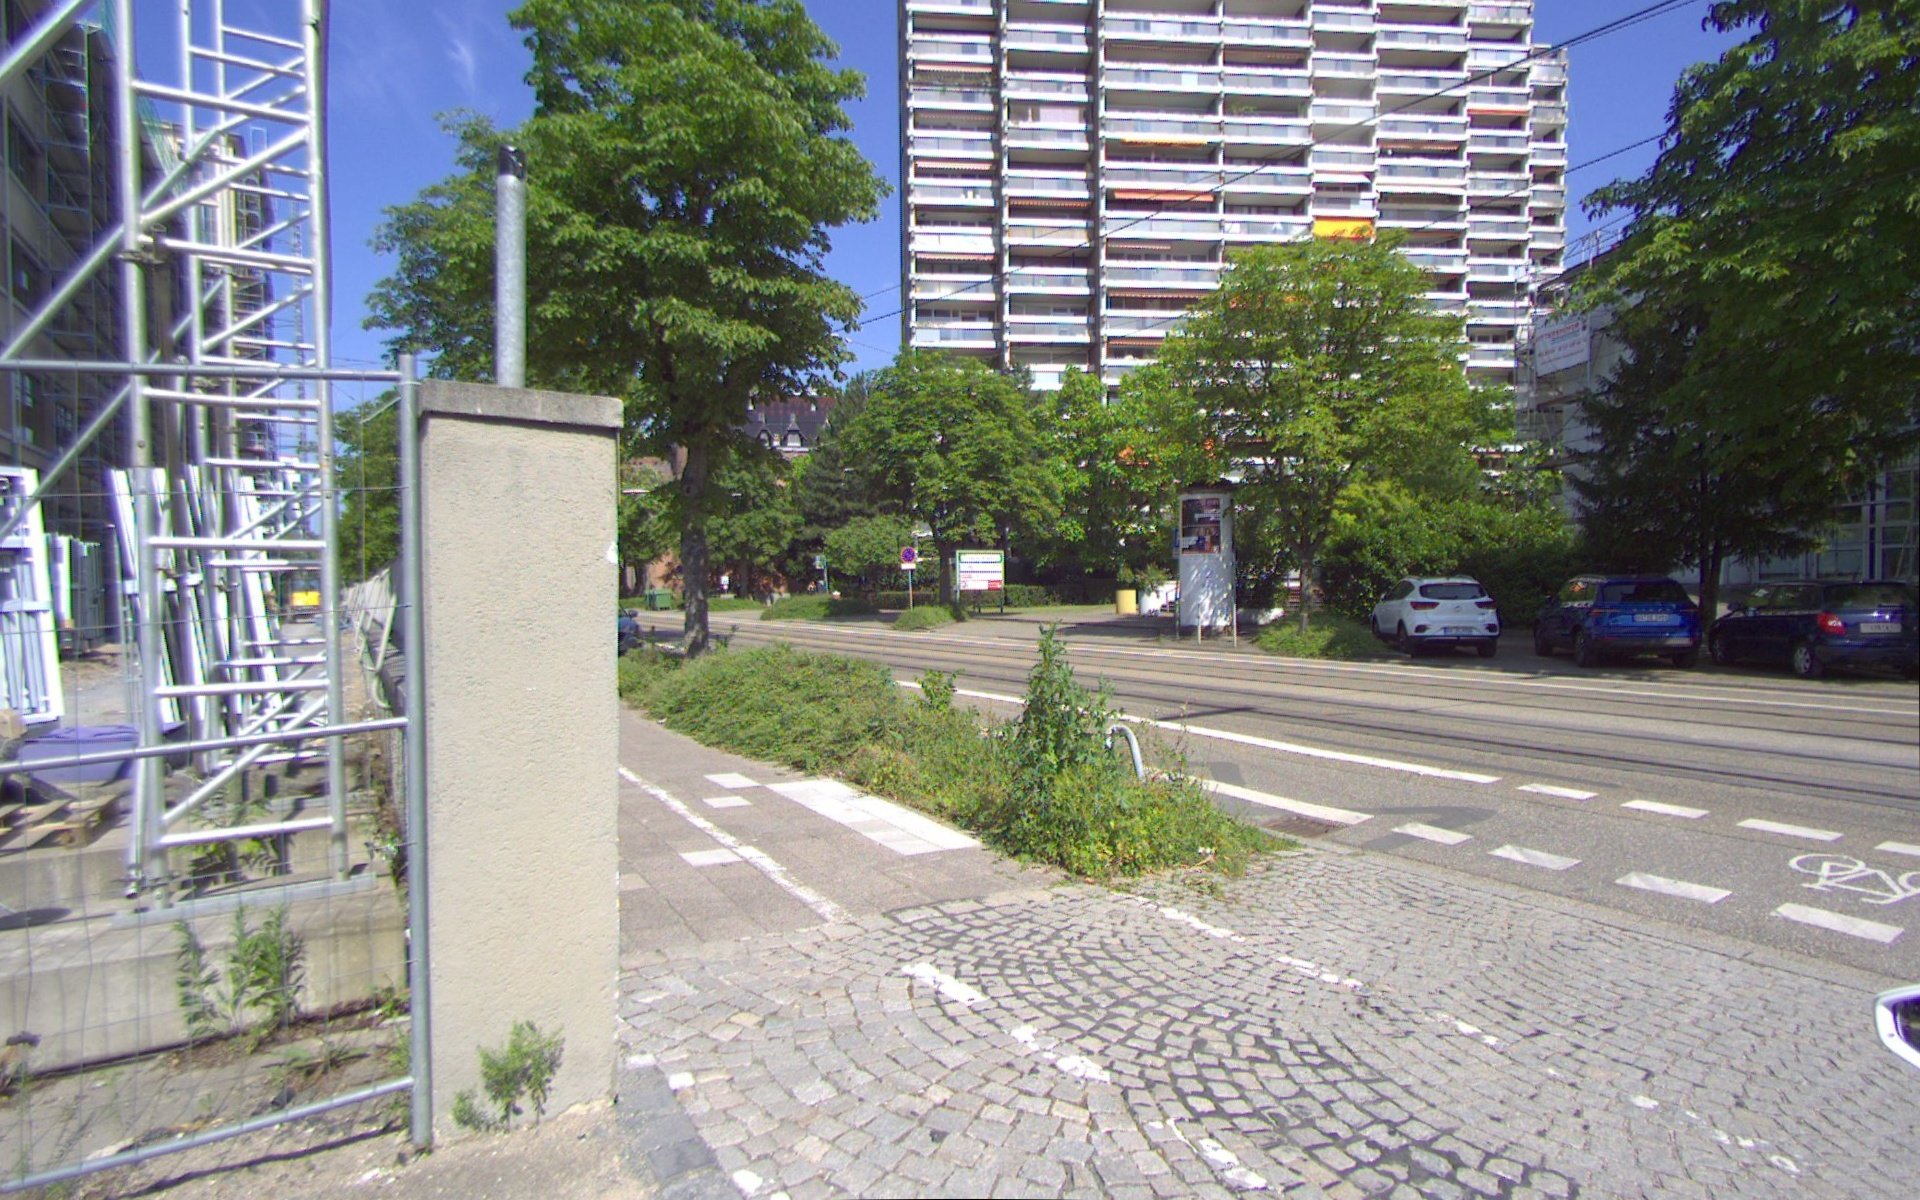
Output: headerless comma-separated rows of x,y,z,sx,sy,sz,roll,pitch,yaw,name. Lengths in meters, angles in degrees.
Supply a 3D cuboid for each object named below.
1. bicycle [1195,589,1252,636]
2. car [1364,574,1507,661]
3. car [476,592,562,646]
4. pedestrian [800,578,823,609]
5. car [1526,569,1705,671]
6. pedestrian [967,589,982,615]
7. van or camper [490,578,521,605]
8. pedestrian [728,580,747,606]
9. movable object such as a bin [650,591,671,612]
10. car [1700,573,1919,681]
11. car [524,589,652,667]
7.572,0.335,28.918,0.542,1.326,1.604,-1,1,-37,bicycle
10.072,0.322,21.606,1.783,1.628,3.947,-2,1,10,car
-13.242,0.523,30.028,1.801,1.473,3.965,-1,1,-32,car
-9.132,-0.395,61.651,1.047,1.822,1.255,1,1,-28,pedestrian
12.091,0.293,18.817,1.745,1.644,3.945,-1,2,17,car
0.656,0.082,44.665,0.525,1.170,0.700,-1,1,-10,pedestrian
-46.351,-0.907,102.270,2.028,2.655,5.808,-1,1,-33,van or camper
-16.066,-0.510,72.518,1.047,1.822,1.255,1,1,-28,pedestrian
-21.146,0.098,70.907,1.249,1.473,1.072,0,1,-27,movable object such as a bin
13.701,0.370,16.212,1.544,1.551,3.460,0,1,12,car
-8.135,0.528,21.764,1.801,1.514,4.071,-1,1,-32,car
